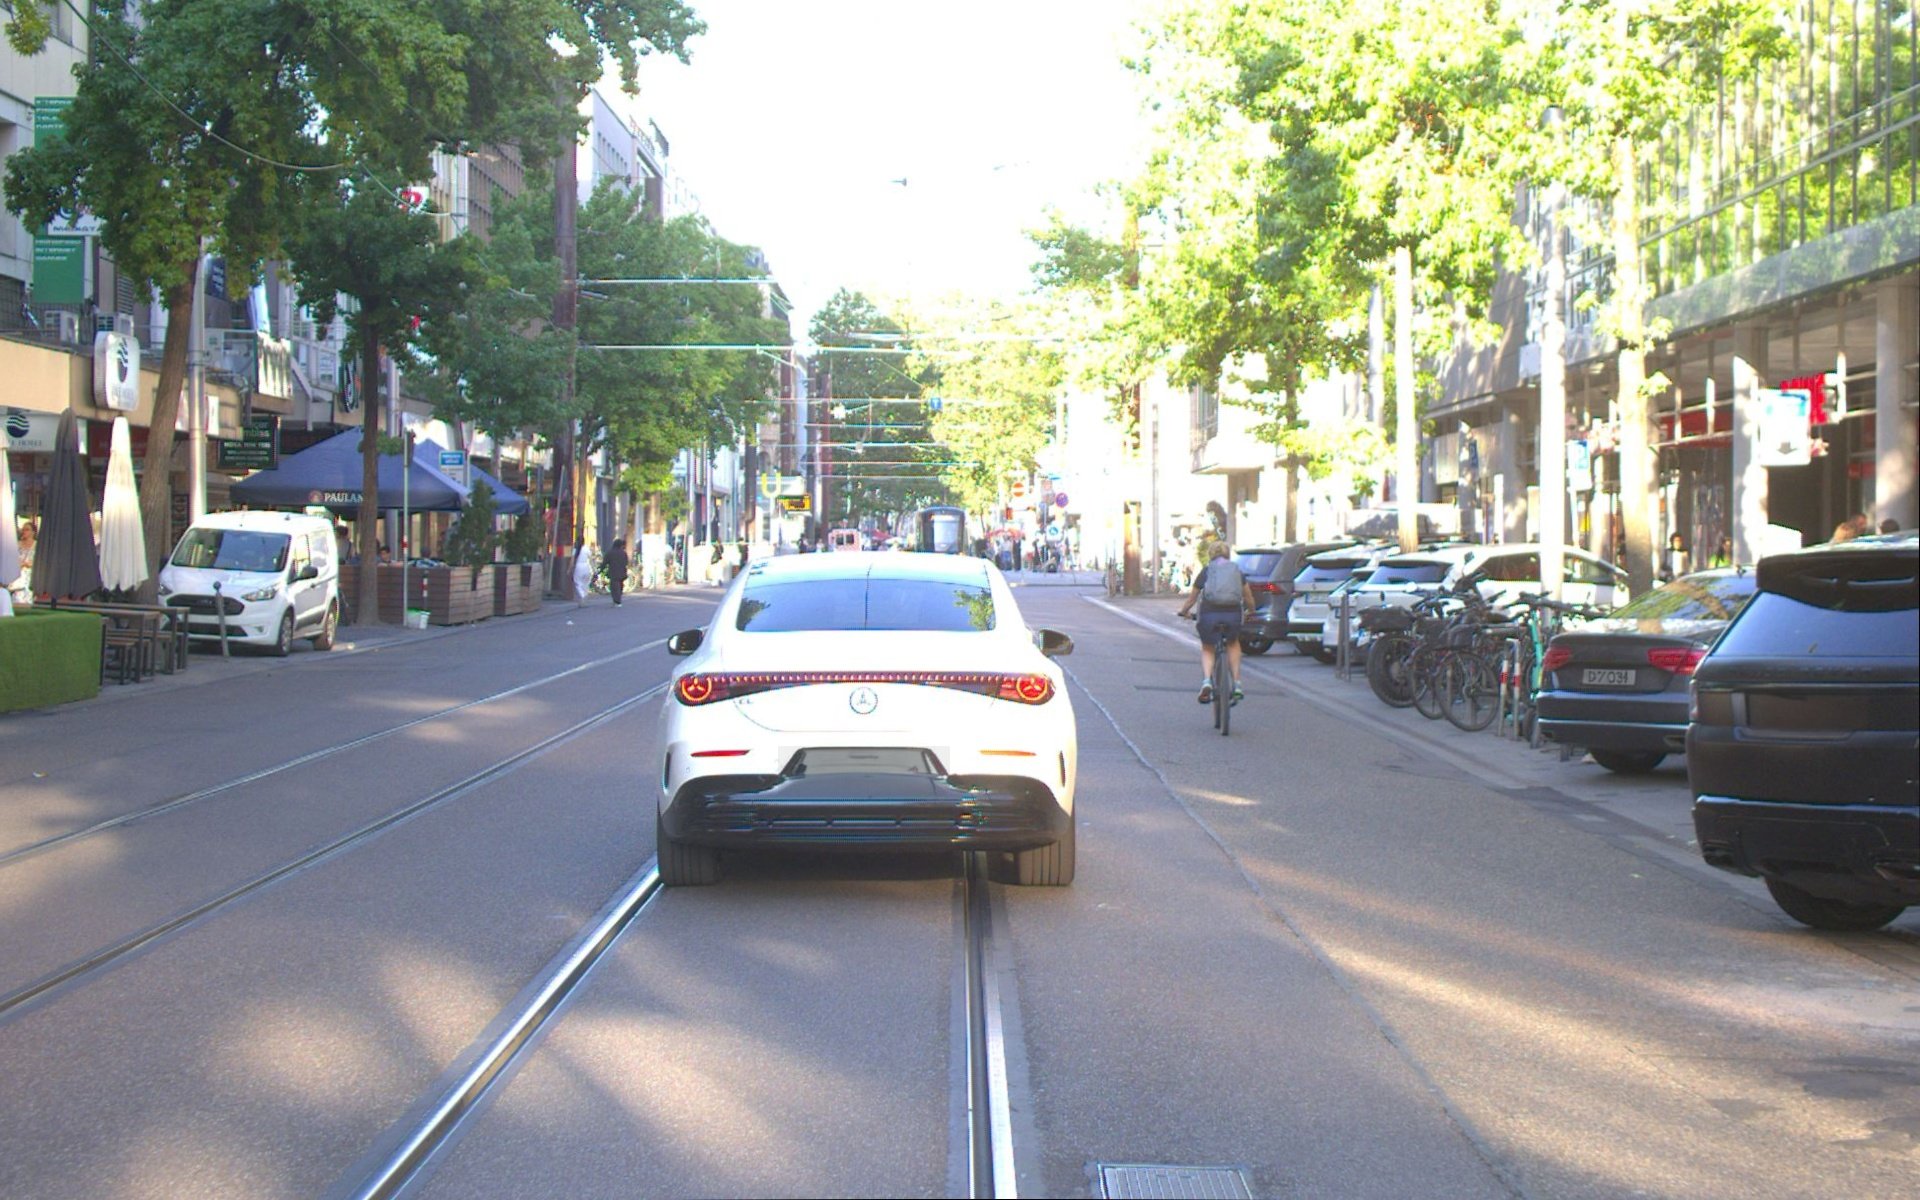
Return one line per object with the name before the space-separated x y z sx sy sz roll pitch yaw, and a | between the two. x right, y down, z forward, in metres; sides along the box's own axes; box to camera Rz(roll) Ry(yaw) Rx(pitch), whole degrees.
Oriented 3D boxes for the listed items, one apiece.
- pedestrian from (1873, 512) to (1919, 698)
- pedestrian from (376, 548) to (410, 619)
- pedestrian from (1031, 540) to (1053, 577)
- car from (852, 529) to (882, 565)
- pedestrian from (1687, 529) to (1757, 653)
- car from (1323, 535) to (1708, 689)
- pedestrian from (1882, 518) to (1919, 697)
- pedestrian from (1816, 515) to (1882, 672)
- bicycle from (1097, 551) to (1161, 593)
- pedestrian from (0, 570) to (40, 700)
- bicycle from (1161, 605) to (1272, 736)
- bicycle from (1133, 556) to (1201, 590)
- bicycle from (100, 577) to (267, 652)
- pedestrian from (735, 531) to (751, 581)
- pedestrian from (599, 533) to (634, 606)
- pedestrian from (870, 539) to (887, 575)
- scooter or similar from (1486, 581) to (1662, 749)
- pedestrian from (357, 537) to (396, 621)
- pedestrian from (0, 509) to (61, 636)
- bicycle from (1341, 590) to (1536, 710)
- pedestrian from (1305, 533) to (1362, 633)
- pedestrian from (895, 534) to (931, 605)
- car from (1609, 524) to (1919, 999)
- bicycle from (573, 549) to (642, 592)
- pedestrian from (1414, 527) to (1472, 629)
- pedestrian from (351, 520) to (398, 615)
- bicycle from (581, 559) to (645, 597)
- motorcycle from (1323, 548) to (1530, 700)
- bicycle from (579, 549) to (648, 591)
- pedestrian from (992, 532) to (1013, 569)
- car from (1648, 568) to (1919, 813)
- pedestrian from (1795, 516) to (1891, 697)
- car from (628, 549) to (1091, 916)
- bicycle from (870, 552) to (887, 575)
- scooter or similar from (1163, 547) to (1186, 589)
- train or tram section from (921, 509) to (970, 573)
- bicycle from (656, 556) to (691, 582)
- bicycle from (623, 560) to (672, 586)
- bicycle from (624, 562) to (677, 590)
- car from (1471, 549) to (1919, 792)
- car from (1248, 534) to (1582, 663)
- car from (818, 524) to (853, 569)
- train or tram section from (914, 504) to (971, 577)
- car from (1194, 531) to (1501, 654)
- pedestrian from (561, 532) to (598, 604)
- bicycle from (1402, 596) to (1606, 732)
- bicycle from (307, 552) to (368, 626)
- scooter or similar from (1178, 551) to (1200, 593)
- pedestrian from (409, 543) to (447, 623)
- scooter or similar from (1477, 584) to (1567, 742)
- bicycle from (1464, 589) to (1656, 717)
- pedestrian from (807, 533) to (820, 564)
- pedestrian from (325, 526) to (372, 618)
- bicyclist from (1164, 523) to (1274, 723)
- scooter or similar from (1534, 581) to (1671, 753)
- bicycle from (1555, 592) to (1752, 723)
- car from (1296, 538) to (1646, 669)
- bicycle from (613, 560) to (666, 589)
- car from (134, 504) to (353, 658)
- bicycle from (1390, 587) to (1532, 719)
pedestrian | 9.049 0.038 32.743 0.523 1.744 0.559 -2 1 2
pedestrian | -9.928 -0.296 60.191 0.494 1.223 0.535 1 1 -1
pedestrian | 3.975 -1.999 166.802 0.960 1.779 0.804 -1 1 0
car | -6.493 -3.711 239.797 1.910 2.452 5.275 0 1 0
pedestrian | 10.100 -0.129 45.587 0.714 1.618 0.882 -1 1 1
car | 6.395 0.107 39.474 4.146 1.566 1.854 -3 1 -33
pedestrian | 9.112 0.067 32.756 0.517 1.690 0.550 1 1 5
pedestrian | 10.079 -0.079 38.973 0.557 1.744 0.525 -2 1 0
bicycle | 5.395 -0.904 109.912 1.908 1.277 0.610 -2 1 -11
pedestrian | -9.198 0.318 32.644 0.657 1.189 0.798 3 1 -1
bicycle | 2.161 0.568 28.733 0.719 0.992 2.058 2 1 9
bicycle | 6.749 -0.883 112.219 2.113 1.092 0.610 0 0 -12
bicycle | -9.561 0.185 42.377 0.836 0.862 1.856 3 1 39
pedestrian | -8.418 -1.703 133.273 0.539 1.922 0.573 0 1 4
pedestrian | -7.497 -0.666 75.059 0.622 1.545 0.852 3 1 1
pedestrian | -4.079 -2.133 171.801 0.800 1.776 0.849 2 1 -1
scooter or similar | 5.017 0.525 28.069 1.302 1.272 0.564 -4 1 -31
pedestrian | -9.997 -0.360 58.878 0.549 1.424 0.583 1 1 -1
pedestrian | -11.926 -0.353 43.868 0.647 1.569 0.700 3 1 0
bicycle | 4.848 0.499 34.792 1.890 1.116 0.667 -2 0 -29
pedestrian | 6.399 -0.286 58.891 0.680 1.679 0.695 -1 1 34
pedestrian | -1.193 -0.780 87.704 0.841 1.795 0.790 2 1 1
car | 5.243 0.513 14.518 4.651 1.757 1.995 -3 1 -29
bicycle | -9.867 -0.824 96.310 1.846 1.137 0.377 2 1 2
pedestrian | 8.262 -0.377 58.788 0.689 1.725 0.631 -1 1 42
pedestrian | -10.705 -0.601 62.859 0.717 1.719 0.675 1 1 -1
bicycle | -9.004 -0.572 89.269 1.596 0.927 0.377 2 1 7
motorcycle | 4.947 0.248 36.355 2.313 1.504 0.858 -3 0 -43
bicycle | -9.325 -0.806 92.507 1.788 1.073 0.377 2 1 -4
pedestrian | 2.114 -2.453 169.867 0.960 1.779 0.804 -1 1 0
car | 7.014 0.487 22.289 4.650 1.421 1.934 -2 1 -21
pedestrian | 8.327 0.061 32.427 0.678 1.690 0.550 0 1 -12
car | -0.416 0.509 16.097 1.857 1.450 4.175 1 1 0
bicycle | -4.086 -1.826 171.777 0.800 1.138 2.257 2 1 -1
scooter or similar | 6.558 -0.974 105.178 0.527 1.273 0.660 -2 1 -11
train or tram section | -0.818 -3.318 194.893 2.694 3.504 11.143 0 1 0
bicycle | -11.076 -1.194 132.928 0.719 1.006 2.038 0 1 14
bicycle | -9.992 -0.859 109.957 1.493 0.780 0.344 2 1 2
bicycle | -9.095 -0.718 101.008 1.493 0.780 0.344 2 1 2
car | 6.240 0.426 24.790 5.046 1.464 1.977 -3 1 -35
car | 6.233 -0.041 47.022 4.235 1.582 1.884 -3 1 -31
car | -8.005 -3.457 221.132 1.993 2.887 5.275 0 1 0
train or tram section | -0.844 -2.933 170.501 2.694 3.504 12.545 0 1 0
car | 5.766 -0.127 51.035 4.342 1.646 1.695 -3 1 -31
pedestrian | -8.215 -0.694 74.198 0.622 1.504 0.833 3 1 1
bicycle | 4.842 0.557 30.594 1.558 1.084 0.869 -4 3 -30
bicycle | -10.280 -0.195 56.727 0.697 1.117 2.087 3 1 -17
scooter or similar | 6.973 -0.854 104.632 0.491 1.273 0.660 -2 1 -11
pedestrian | -9.100 -0.289 58.822 0.549 1.352 0.583 1 1 -1
scooter or similar | 4.736 0.517 29.010 0.450 1.272 1.307 -3 1 -1
bicycle | 5.683 0.496 32.552 1.689 1.102 0.632 -3 1 -26
pedestrian | -7.567 -2.672 177.270 0.660 1.593 0.573 0 1 -1
pedestrian | -10.859 -0.504 61.047 0.673 1.601 0.720 1 1 -1
bicyclist | 2.162 0.184 28.636 0.778 1.607 0.912 2 1 9
scooter or similar | 5.099 0.518 27.246 0.458 1.272 1.304 -3 1 37
bicycle | 6.350 0.509 31.451 1.669 1.071 0.733 -4 3 -30
car | 6.580 0.029 44.238 4.145 1.494 1.689 -2 1 -23
bicycle | -9.349 -0.744 100.207 1.493 0.780 0.344 2 1 2
car | -9.466 -0.275 45.756 1.795 1.858 4.553 3 1 1
bicycle | 4.796 0.496 32.843 0.481 1.159 1.691 -2 1 40
